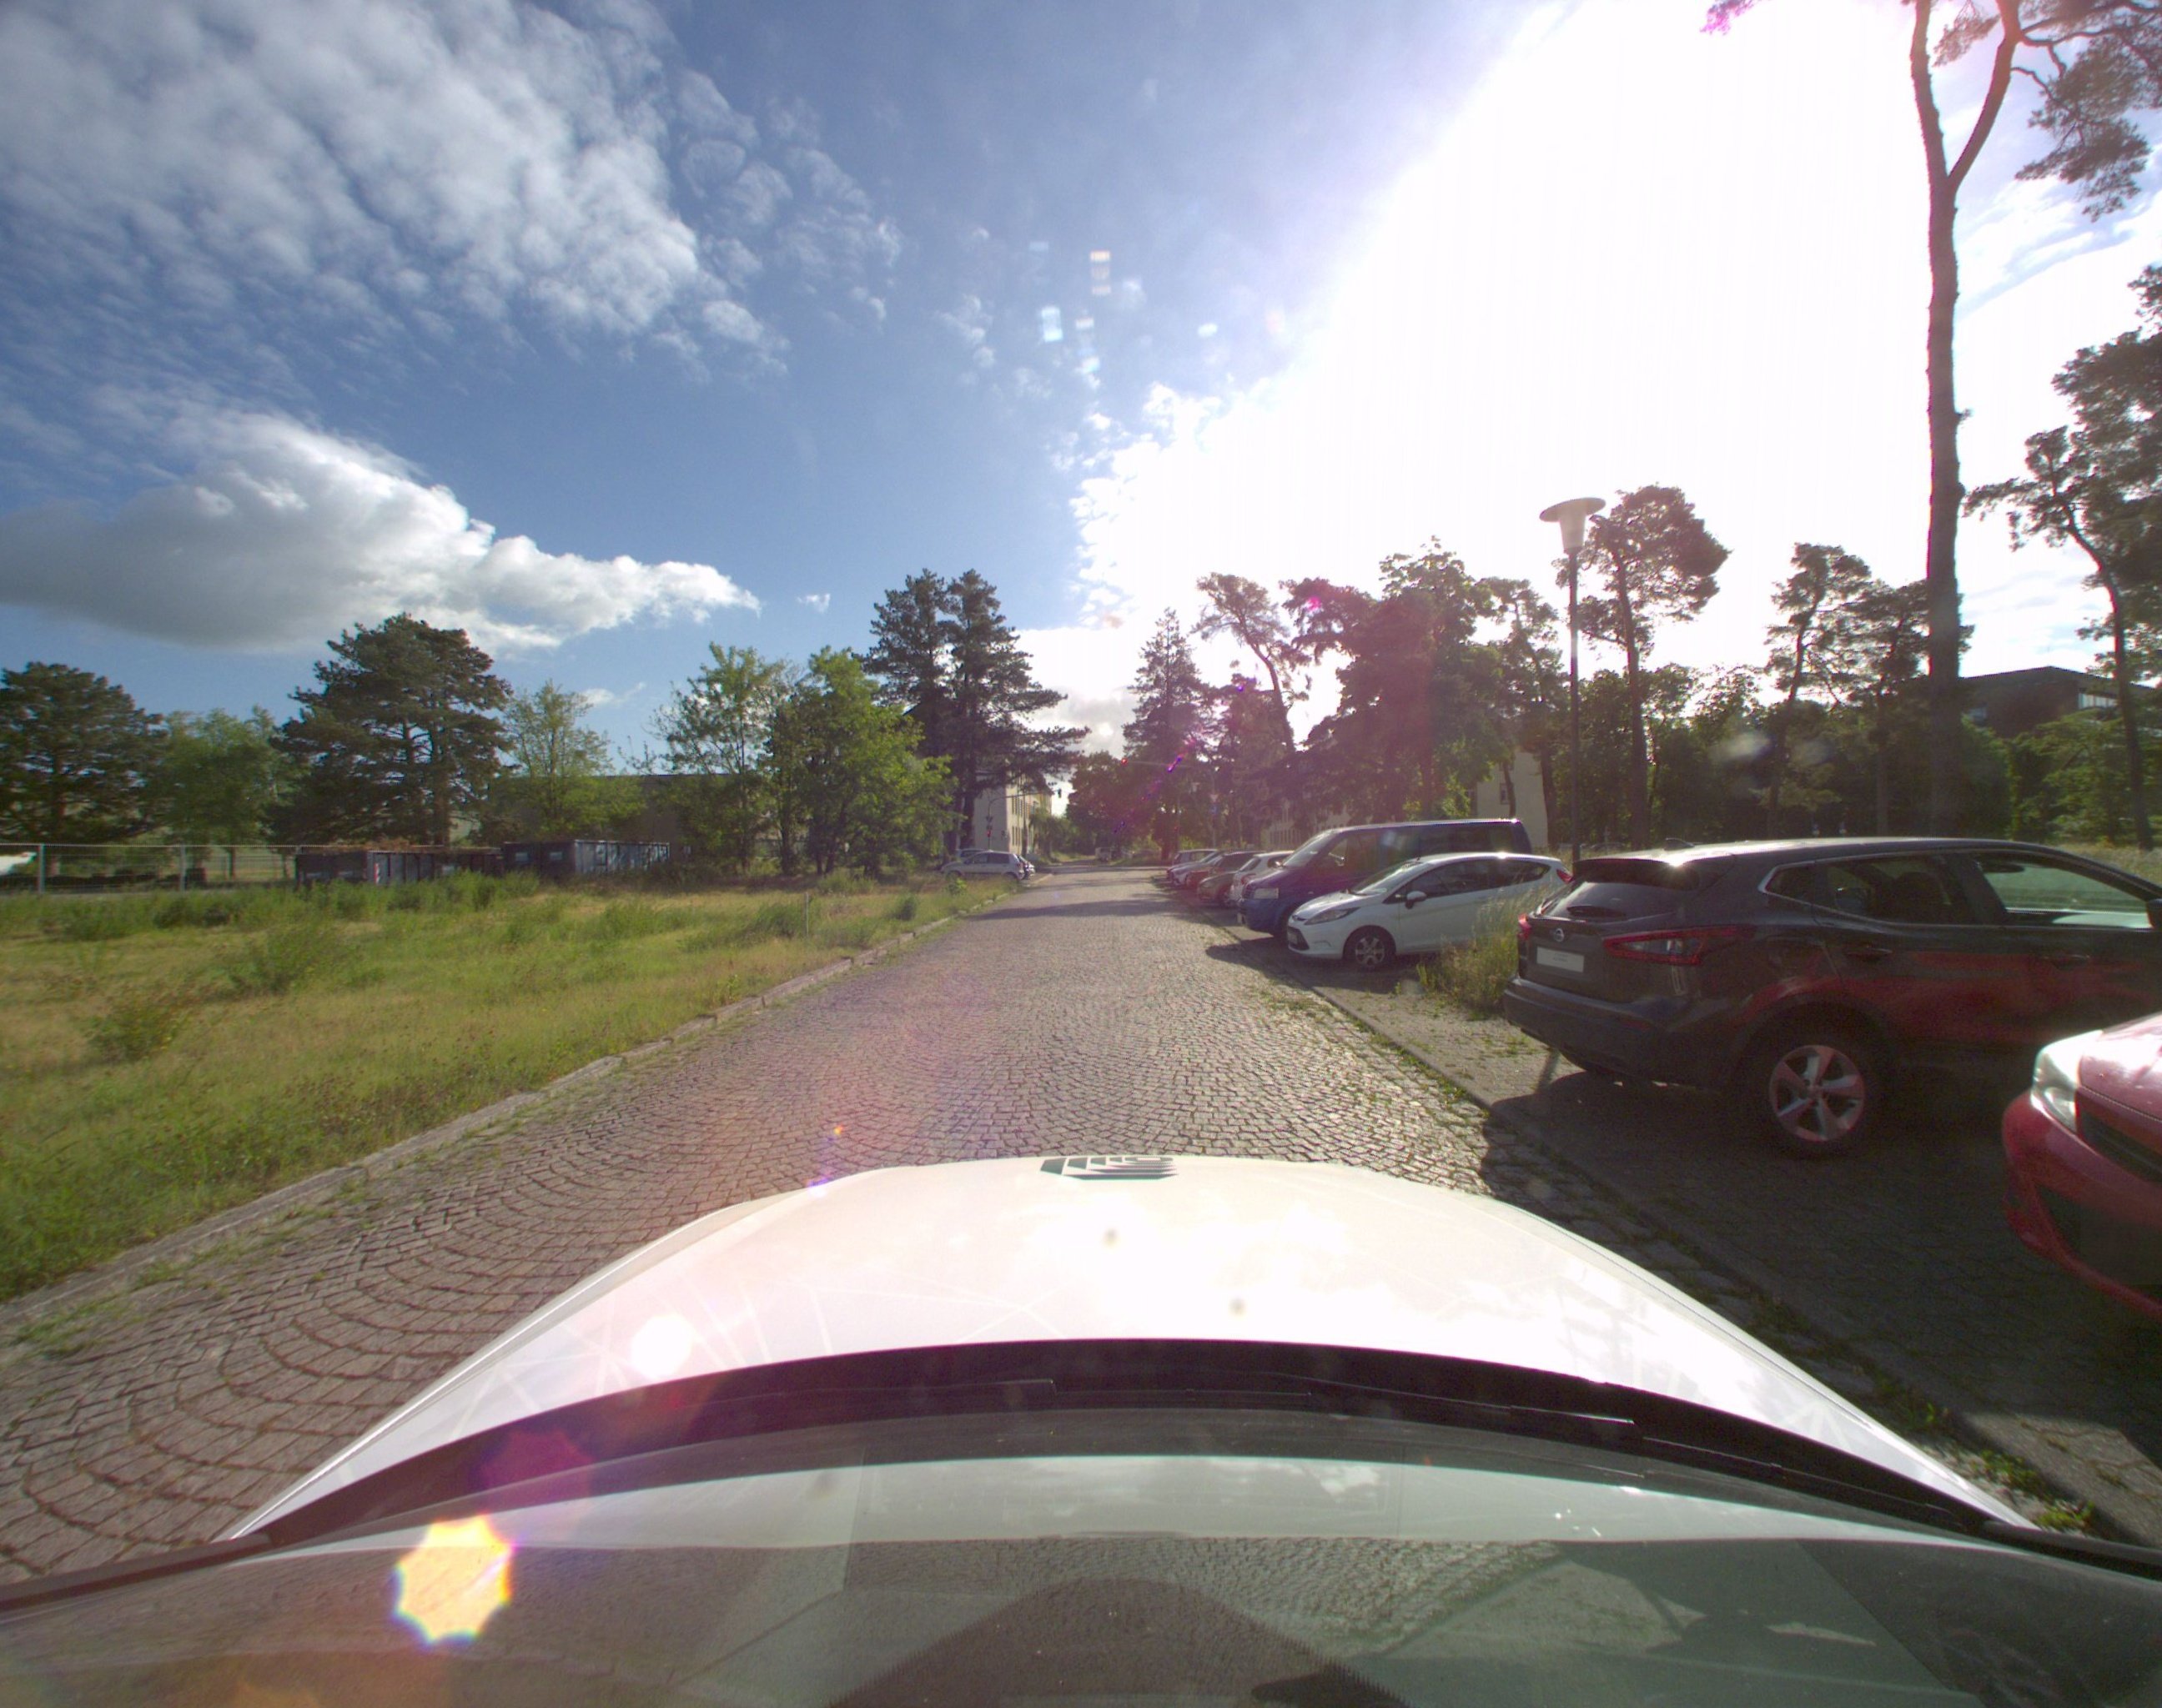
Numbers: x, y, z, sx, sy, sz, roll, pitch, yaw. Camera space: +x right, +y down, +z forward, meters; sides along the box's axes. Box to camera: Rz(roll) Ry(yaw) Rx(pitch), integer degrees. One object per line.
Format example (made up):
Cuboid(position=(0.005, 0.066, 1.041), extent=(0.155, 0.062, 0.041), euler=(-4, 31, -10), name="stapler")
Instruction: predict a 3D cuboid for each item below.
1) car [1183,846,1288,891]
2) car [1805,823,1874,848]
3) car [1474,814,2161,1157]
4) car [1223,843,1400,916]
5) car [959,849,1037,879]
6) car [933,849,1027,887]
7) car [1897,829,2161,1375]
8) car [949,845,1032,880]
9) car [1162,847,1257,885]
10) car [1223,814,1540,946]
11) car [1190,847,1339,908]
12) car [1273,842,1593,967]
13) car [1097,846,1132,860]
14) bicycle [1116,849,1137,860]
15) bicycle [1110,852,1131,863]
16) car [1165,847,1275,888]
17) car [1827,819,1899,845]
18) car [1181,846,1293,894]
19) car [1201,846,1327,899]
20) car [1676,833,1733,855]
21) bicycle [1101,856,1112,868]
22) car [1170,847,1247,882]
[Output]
Cuboid(position=(5.655, 0.512, 30.077), extent=(3.591, 1.529, 1.645), euler=(-1, 0, 0), name="car")
Cuboid(position=(64.249, -1.524, 68.992), extent=(3.972, 2.013, 2.001), euler=(-1, 0, 1), name="car")
Cuboid(position=(4.724, 0.621, 4.847), extent=(3.923, 1.621, 1.772), euler=(-1, 0, 0), name="car")
Cuboid(position=(5.312, 0.563, 19.118), extent=(3.680, 1.465, 1.646), euler=(-3, 0, 2), name="car")
Cuboid(position=(-4.507, 0.532, 44.794), extent=(3.973, 1.453, 2.000), euler=(2, 0, 1), name="car")
Cuboid(position=(-4.531, 0.617, 37.000), extent=(3.976, 1.600, 1.999), euler=(-1, 0, -1), name="car")
Cuboid(position=(4.886, 0.665, 2.176), extent=(3.749, 1.530, 1.646), euler=(-1, 0, 1), name="car")
Cuboid(position=(-4.651, 0.446, 42.395), extent=(3.973, 1.601, 2.000), euler=(2, 0, 1), name="car")
Cuboid(position=(5.464, 0.511, 34.934), extent=(3.823, 1.529, 1.645), euler=(-1, 0, 0), name="car")
Cuboid(position=(4.957, 0.397, 13.945), extent=(4.664, 2.013, 2.082), euler=(-1, 0, -2), name="car")
Cuboid(position=(4.885, 0.601, 22.016), extent=(3.663, 1.467, 1.645), euler=(-2, 0, 0), name="car")
Cuboid(position=(4.712, 0.639, 11.270), extent=(3.708, 1.488, 1.645), euler=(-2, 0, -1), name="car")
Cuboid(position=(4.240, -0.099, 104.105), extent=(4.465, 1.728, 2.000), euler=(0, 0, 1), name="car")
Cuboid(position=(4.875, 0.038, 87.809), extent=(2.172, 1.100, 0.805), euler=(0, 0, -9), name="bicycle")
Cuboid(position=(4.217, 0.371, 86.623), extent=(2.172, 1.100, 0.805), euler=(0, 0, -9), name="bicycle")
Cuboid(position=(5.432, 0.504, 32.161), extent=(4.024, 1.529, 1.644), euler=(-1, 0, -2), name="car")
Cuboid(position=(64.128, -1.823, 66.836), extent=(3.972, 2.013, 2.001), euler=(-1, 0, 1), name="car")
Cuboid(position=(5.239, 0.532, 27.623), extent=(3.466, 1.529, 1.645), euler=(-1, 0, 0), name="car")
Cuboid(position=(5.538, 0.545, 24.924), extent=(3.466, 1.529, 1.645), euler=(-1, 0, 0), name="car")
Cuboid(position=(60.339, -0.989, 78.847), extent=(3.972, 2.013, 2.001), euler=(-1, 0, 1), name="car")
Cuboid(position=(2.621, 0.778, 83.192), extent=(0.803, 1.169, 2.177), euler=(-3, 0, -4), name="bicycle")
Cuboid(position=(5.845, 0.468, 37.568), extent=(3.332, 1.482, 1.645), euler=(-1, 0, 0), name="car")
